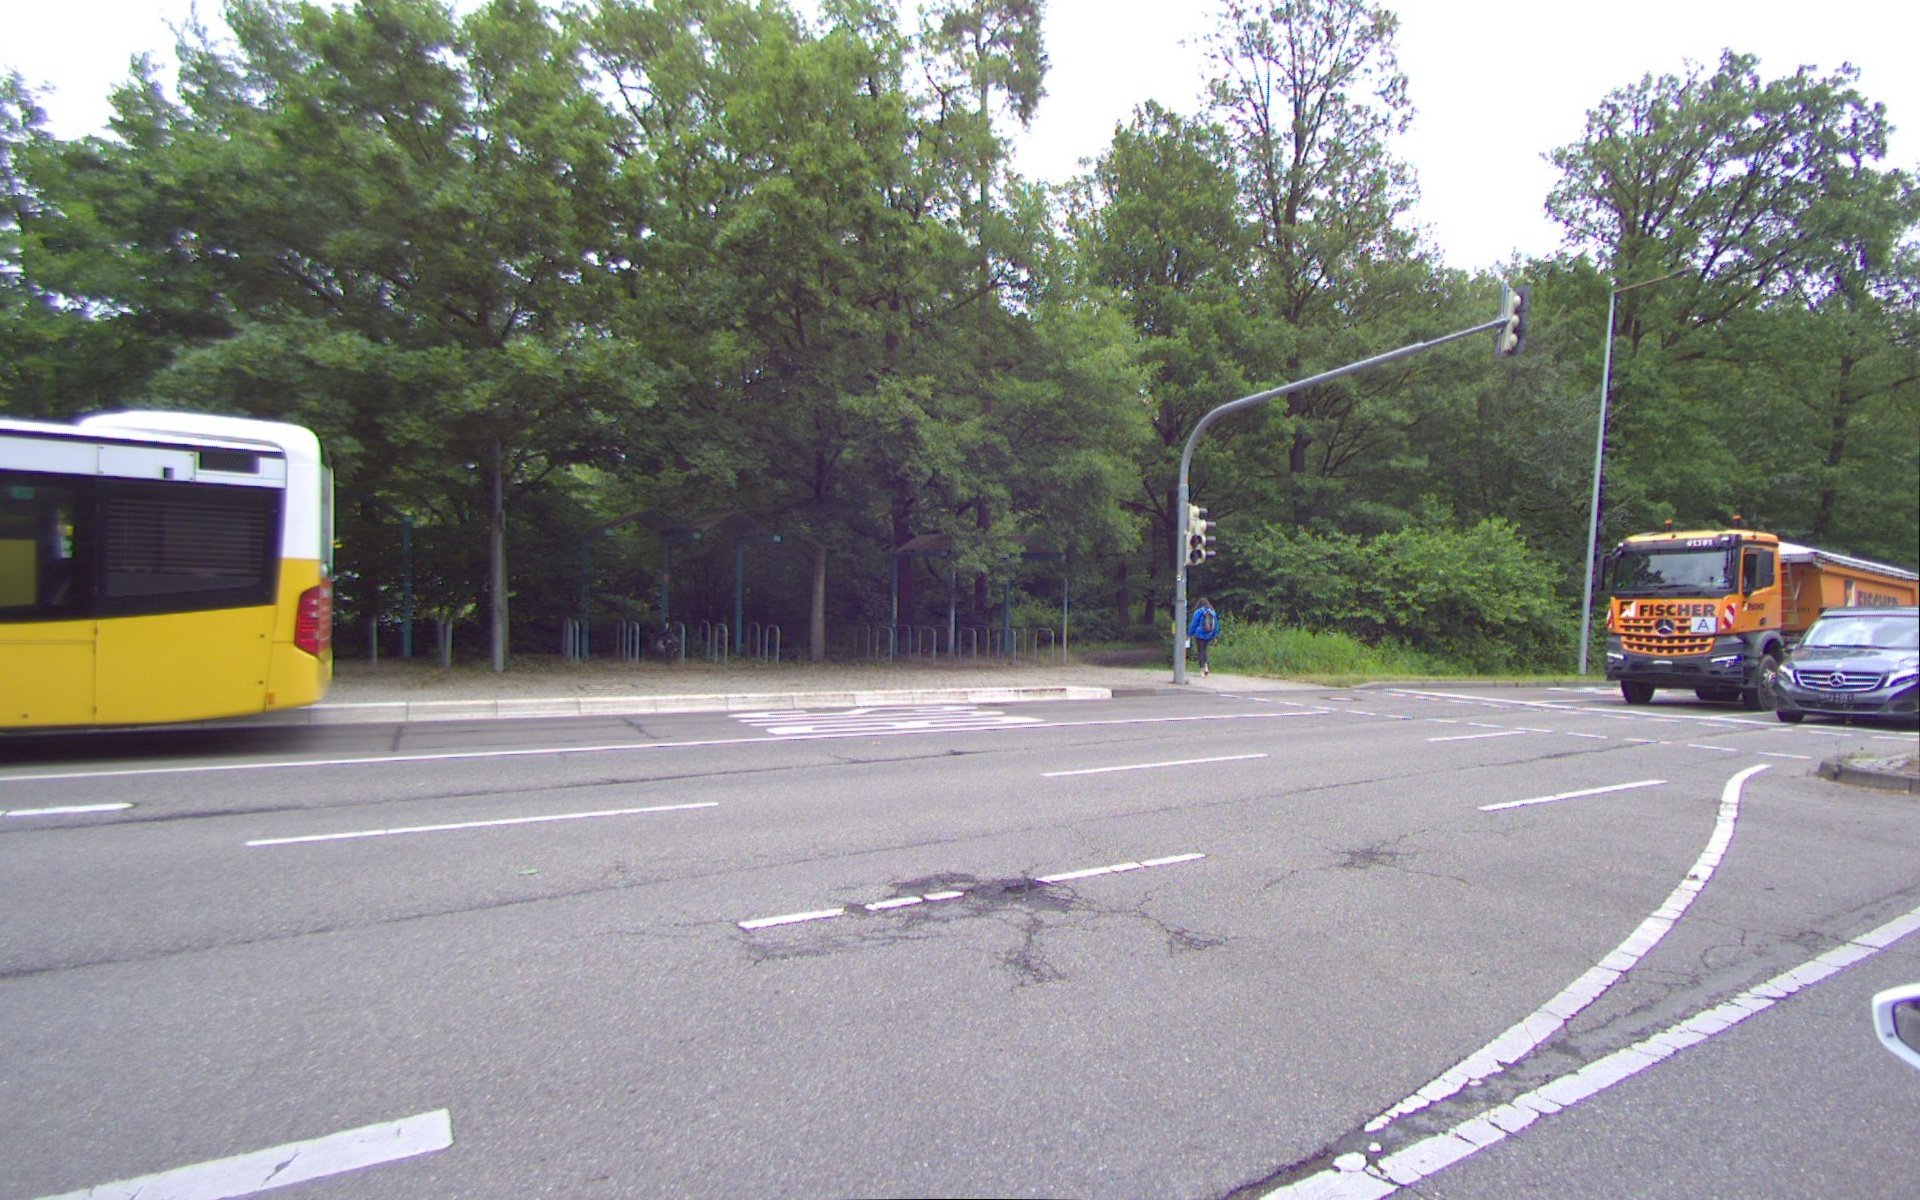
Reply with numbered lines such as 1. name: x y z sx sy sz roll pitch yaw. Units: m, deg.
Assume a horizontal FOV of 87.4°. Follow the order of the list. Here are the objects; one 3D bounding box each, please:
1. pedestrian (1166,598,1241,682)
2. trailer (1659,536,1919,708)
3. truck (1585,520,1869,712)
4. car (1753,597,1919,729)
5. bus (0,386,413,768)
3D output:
1. pedestrian: 5.164 0.825 21.370 1.055 1.671 1.043 0 4 -27
2. trailer: 19.476 0.602 23.260 8.485 3.362 2.720 3 -2 -36
3. truck: 15.987 0.430 20.758 7.090 3.362 2.721 3 -2 -35
4. car: 15.294 1.008 16.704 4.789 1.918 1.981 2 -2 -34
5. bus: -9.804 -0.227 8.931 8.592 3.168 2.885 1 0 -30
